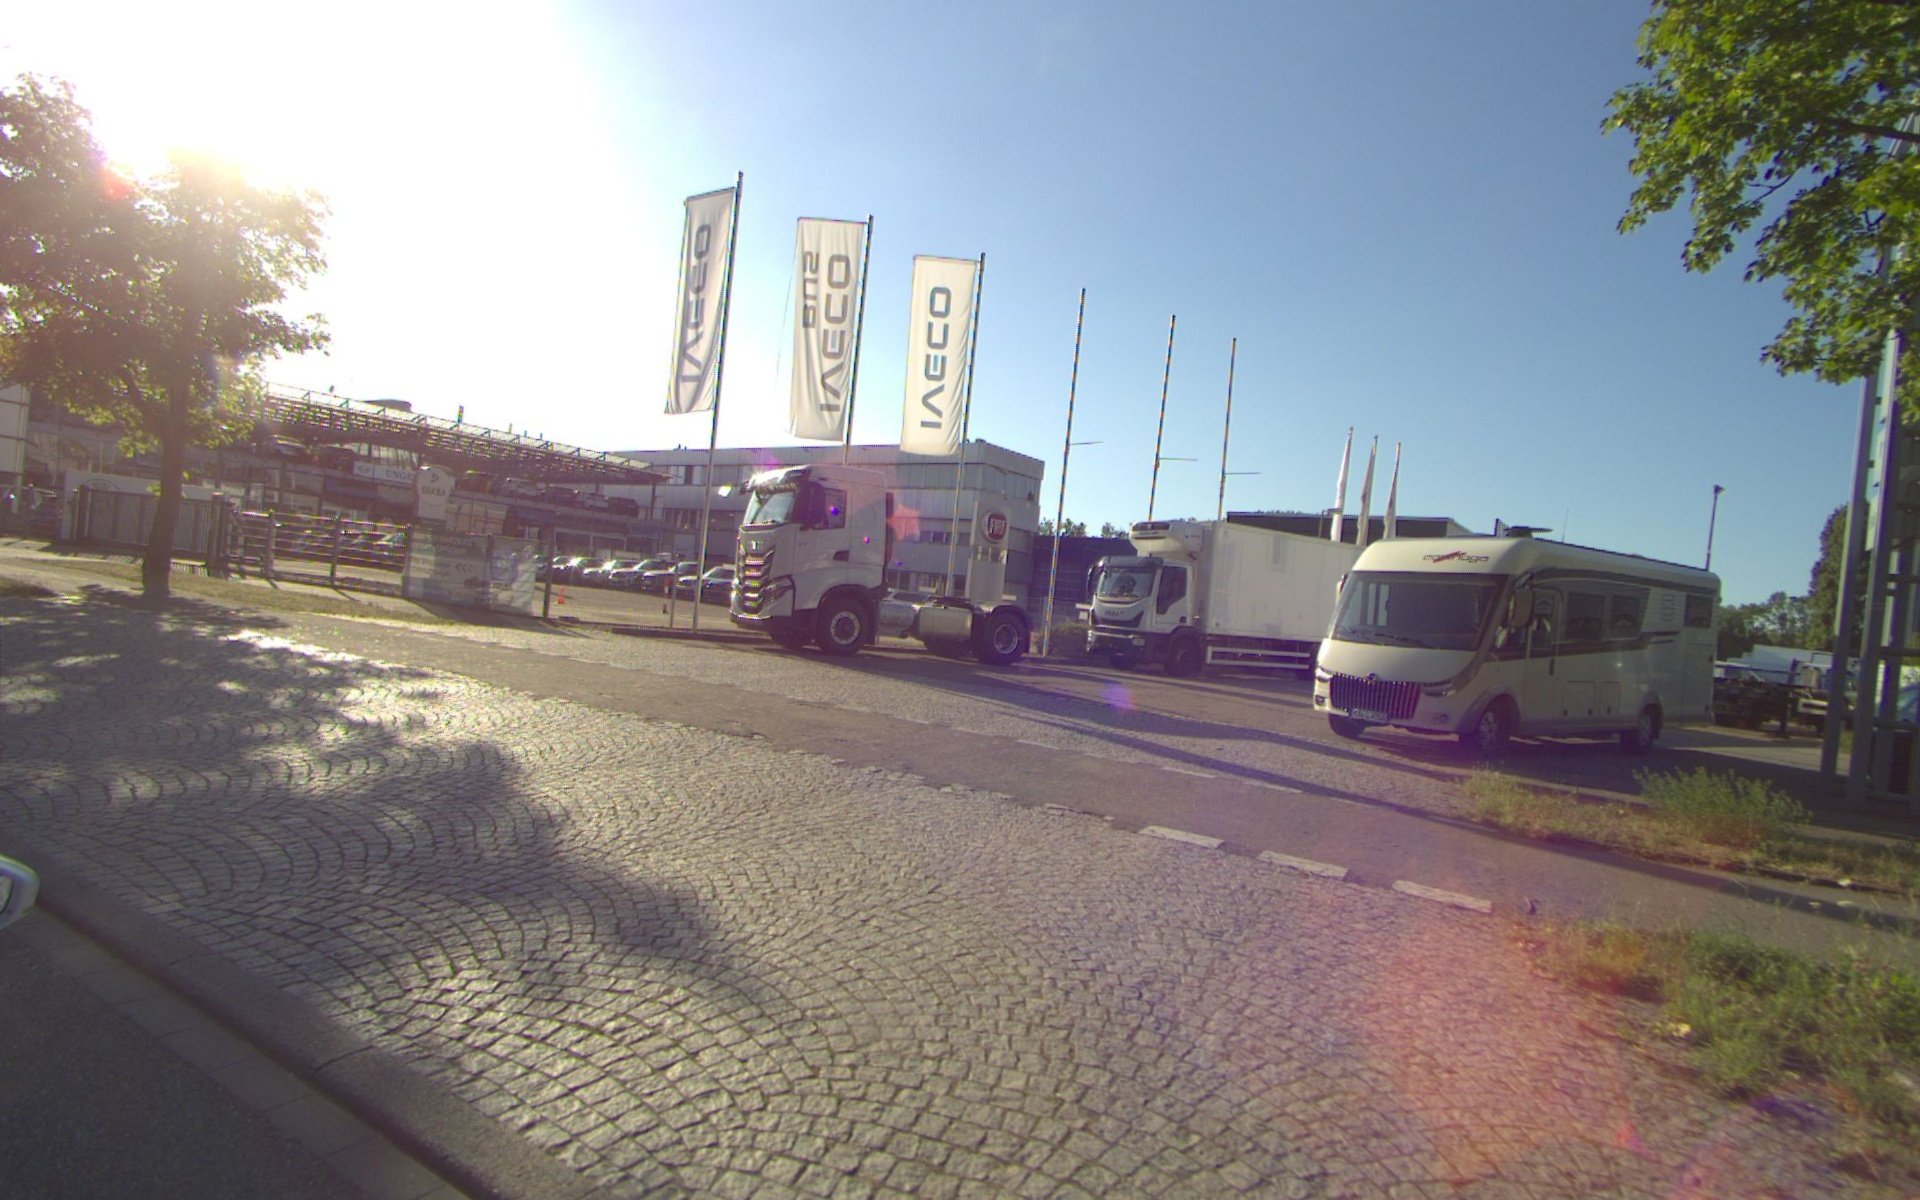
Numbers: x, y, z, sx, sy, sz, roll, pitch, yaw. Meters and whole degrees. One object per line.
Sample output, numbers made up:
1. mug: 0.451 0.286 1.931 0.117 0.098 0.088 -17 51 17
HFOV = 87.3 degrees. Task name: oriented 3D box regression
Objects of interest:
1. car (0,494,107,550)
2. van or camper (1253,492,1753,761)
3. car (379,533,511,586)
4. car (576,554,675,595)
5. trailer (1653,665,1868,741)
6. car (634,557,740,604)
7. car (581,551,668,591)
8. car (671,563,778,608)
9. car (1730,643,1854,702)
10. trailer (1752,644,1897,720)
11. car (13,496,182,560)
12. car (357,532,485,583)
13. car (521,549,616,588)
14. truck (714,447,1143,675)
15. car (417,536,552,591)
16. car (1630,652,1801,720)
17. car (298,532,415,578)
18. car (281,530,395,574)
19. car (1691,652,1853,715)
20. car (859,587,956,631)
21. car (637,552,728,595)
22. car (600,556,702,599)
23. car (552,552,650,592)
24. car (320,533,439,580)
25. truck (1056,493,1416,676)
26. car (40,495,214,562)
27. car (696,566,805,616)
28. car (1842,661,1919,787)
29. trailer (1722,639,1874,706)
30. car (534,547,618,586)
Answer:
1. car: -32.407 -2.776 34.947 1.973 1.598 3.977 6 0 43
2. van or camper: 8.074 0.535 14.463 7.933 2.937 2.915 5 0 -35
3. car: -19.444 -1.494 38.080 1.897 1.549 3.980 6 0 41
4. car: -15.730 -1.180 47.405 1.881 1.598 3.977 3 -2 43
5. trailer: 19.092 2.467 23.916 5.600 1.339 2.531 6 0 -36
6. car: -11.990 -0.839 44.359 1.973 1.598 3.977 6 0 43
7. car: -18.327 -1.556 55.079 1.971 1.763 3.981 6 0 40
8. car: -10.033 -0.618 43.062 1.975 1.598 3.977 3 -2 43
9. car: 39.555 3.412 47.910 2.068 2.306 3.963 5 1 -34
10. trailer: 42.333 3.958 49.380 1.980 3.108 4.814 5 1 -34
11. car: -28.406 -2.353 33.208 1.973 1.598 3.977 6 0 43
12. car: -21.165 -1.661 39.607 1.897 1.549 3.980 6 0 41
13. car: -19.632 -1.561 50.538 1.881 1.598 3.977 3 -2 43
14. truck: -0.514 -0.598 20.837 8.160 3.567 3.091 6 1 -30
15. car: -17.400 -1.311 36.946 1.897 1.549 3.980 6 0 41
16. car: 30.263 3.412 40.447 1.983 2.037 5.004 8 -2 -35
17. car: -26.622 -1.969 44.448 1.974 1.597 3.977 3 -2 43
18. car: -28.298 -2.142 45.859 1.974 1.597 3.977 3 -2 43
19. car: 35.290 3.599 43.867 1.983 2.037 5.004 8 -2 -35
20. car: -2.278 0.422 44.220 1.823 1.493 3.977 9 2 43
21. car: -14.258 -1.325 51.800 1.971 1.763 3.981 6 0 40
22. car: -14.066 -1.026 45.931 1.881 1.598 3.977 3 -2 43
23. car: -17.427 -1.332 48.942 1.881 1.598 3.977 3 -2 43
24. car: -24.794 -1.837 43.045 1.974 1.597 3.977 3 -2 43
25. truck: 7.545 -0.200 26.543 10.021 3.690 3.265 6 1 -35
26. car: -26.384 -2.248 31.928 1.973 1.598 3.977 6 0 43
27. car: -8.624 -0.365 41.575 1.823 1.599 3.977 9 2 43
28. car: 12.587 1.614 11.324 1.962 1.510 4.814 6 0 15
29. trailer: 38.162 3.269 45.939 1.980 2.468 4.814 5 1 -34
30. car: -22.196 -1.913 58.194 1.971 1.763 3.981 6 0 40
